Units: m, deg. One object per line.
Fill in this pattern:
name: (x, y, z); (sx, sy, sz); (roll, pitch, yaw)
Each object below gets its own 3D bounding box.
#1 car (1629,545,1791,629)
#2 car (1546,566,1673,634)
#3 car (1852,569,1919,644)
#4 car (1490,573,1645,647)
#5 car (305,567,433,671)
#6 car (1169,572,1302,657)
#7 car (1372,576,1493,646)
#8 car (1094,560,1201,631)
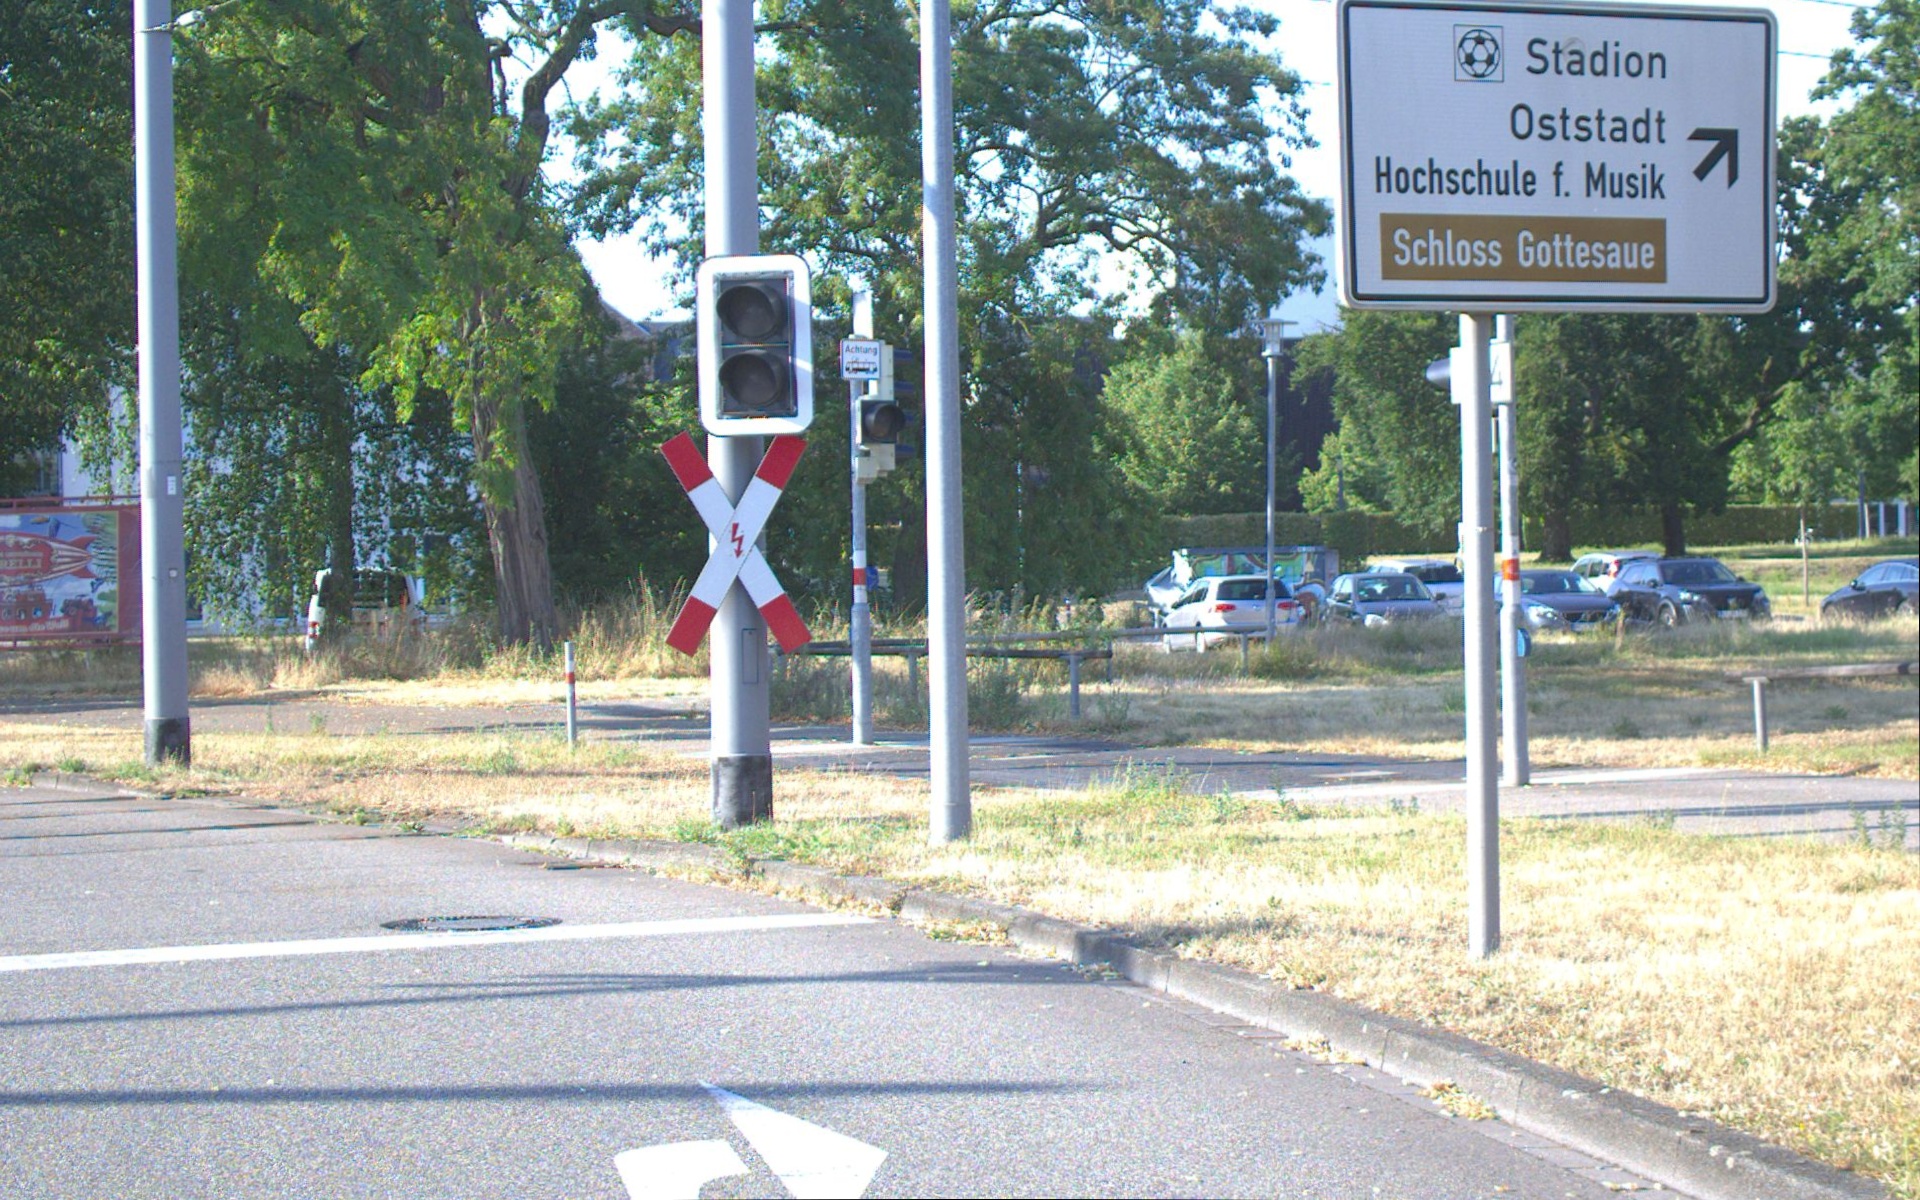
car: (13.117, -0.223, 60.321); (1.601, 1.397, 3.969); (-1, 0, -6)
car: (13.904, -0.005, 73.780); (1.601, 1.397, 3.969); (-1, 0, -6)
car: (17.308, 0.099, 60.918); (1.601, 1.305, 3.969); (-1, 0, -6)
car: (10.474, 0.162, 59.512); (1.601, 1.216, 3.969); (-1, 0, -6)
car: (-9.663, 0.294, 56.436); (1.771, 1.612, 3.969); (-1, 0, -6)
car: (4.732, 0.233, 59.520); (1.601, 1.397, 3.969); (-1, 0, -6)
car: (9.868, 0.211, 72.007); (1.601, 1.397, 3.969); (-1, 0, -6)
car: (3.860, -0.103, 71.256); (1.601, 1.397, 3.969); (-1, 0, -6)
